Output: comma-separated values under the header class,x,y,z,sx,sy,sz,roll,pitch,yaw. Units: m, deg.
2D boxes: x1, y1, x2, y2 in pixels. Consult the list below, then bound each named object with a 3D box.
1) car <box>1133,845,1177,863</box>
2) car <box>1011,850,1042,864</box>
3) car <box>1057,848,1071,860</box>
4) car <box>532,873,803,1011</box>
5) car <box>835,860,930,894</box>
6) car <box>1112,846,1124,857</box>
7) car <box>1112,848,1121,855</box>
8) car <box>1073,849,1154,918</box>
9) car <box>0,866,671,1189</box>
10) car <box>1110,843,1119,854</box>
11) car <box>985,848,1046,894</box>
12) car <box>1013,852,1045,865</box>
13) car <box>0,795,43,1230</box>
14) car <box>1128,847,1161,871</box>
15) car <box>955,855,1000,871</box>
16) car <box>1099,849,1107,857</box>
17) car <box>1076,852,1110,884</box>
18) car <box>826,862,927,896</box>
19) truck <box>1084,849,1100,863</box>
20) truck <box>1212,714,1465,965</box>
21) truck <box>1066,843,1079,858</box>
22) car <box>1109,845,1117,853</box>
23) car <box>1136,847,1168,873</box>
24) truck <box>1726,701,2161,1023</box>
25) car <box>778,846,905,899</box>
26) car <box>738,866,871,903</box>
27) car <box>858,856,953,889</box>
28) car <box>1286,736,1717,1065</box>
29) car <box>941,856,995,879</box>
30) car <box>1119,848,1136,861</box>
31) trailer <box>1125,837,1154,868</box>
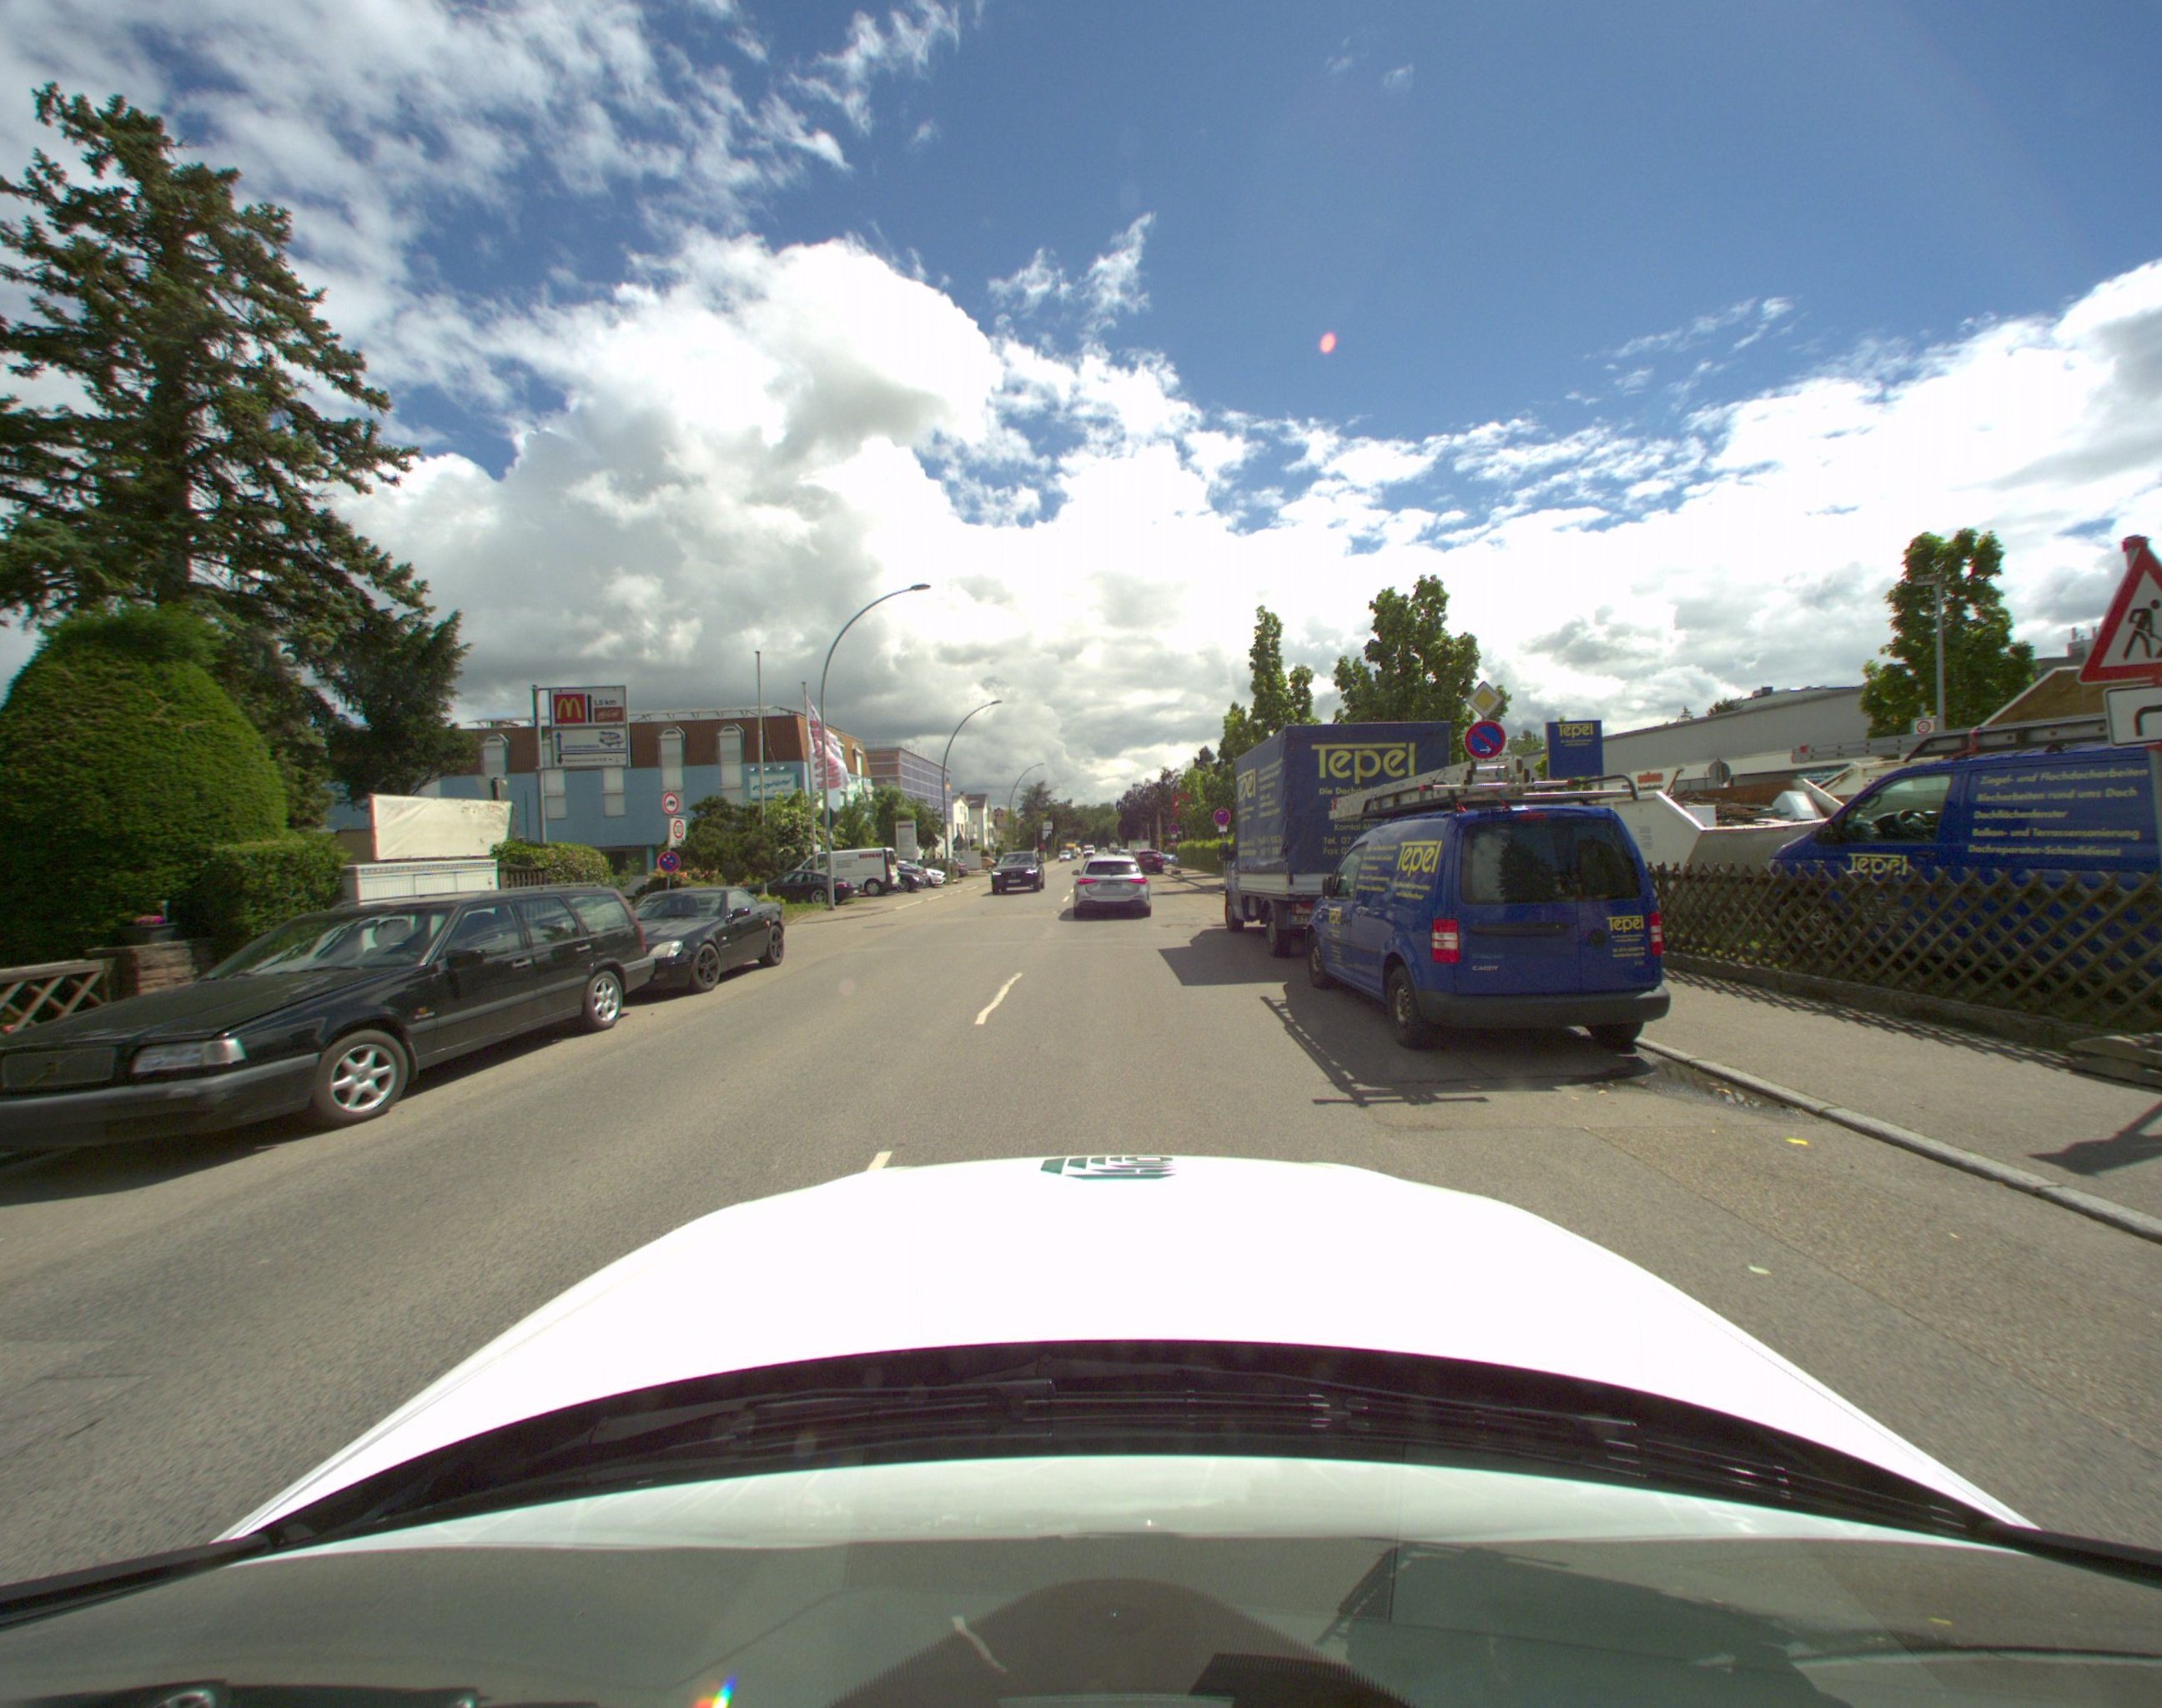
class,x,y,z,sx,sy,sz,roll,pitch,yaw
car,6.987,-0.024,76.501,3.961,1.596,2.006,0,1,11
car,-7.945,0.441,118.982,4.265,1.836,1.991,-3,-3,0
car,-2.584,-0.022,124.063,1.785,1.603,4.365,-3,1,1
car,-5.448,1.058,11.420,1.626,1.303,4.115,-5,1,-1
car,-9.390,1.082,38.736,3.970,1.355,1.873,-2,1,3
car,7.233,-0.445,159.460,2.136,1.984,5.263,-3,0,2
car,7.757,-0.442,178.084,1.779,1.484,4.315,-1,0,0
car,0.712,0.643,20.346,1.779,1.484,4.316,-1,1,0
car,-5.449,0.976,6.625,1.738,1.472,4.644,-5,1,0
car,8.081,-1.239,196.921,1.779,2.518,4.315,-1,0,0
car,-2.596,0.651,33.470,1.987,1.615,4.412,-3,1,1
car,-7.193,0.625,113.460,4.264,1.567,1.991,-3,-3,1
car,-5.493,0.769,1.362,1.738,1.838,4.355,-5,1,0
car,4.558,0.313,58.941,1.936,1.571,4.444,-3,1,-1
car,-9.852,0.880,77.951,4.139,1.491,1.824,0,1,-3
car,4.568,-0.273,169.136,1.750,1.558,4.001,-2,1,1
car,0.665,0.745,44.436,1.750,1.558,4.001,-2,1,1
car,-9.097,1.111,36.513,3.974,1.314,1.871,-2,0,0
truck,2.018,0.313,146.359,2.309,2.178,6.455,-3,1,3
truck,3.664,-0.211,13.073,2.312,3.097,6.045,0,1,2
truck,-1.629,-0.681,157.976,2.067,2.814,7.083,-3,1,3
car,7.258,-1.058,184.660,1.779,1.715,4.315,-1,0,0
car,4.591,0.349,53.382,1.933,1.571,4.450,-3,1,3
truck,7.856,-0.047,6.027,1.823,2.081,5.386,-5,2,1
car,-9.957,0.726,34.158,4.640,1.972,2.114,-2,1,-2
car,-9.567,1.048,28.383,3.974,1.204,1.871,0,1,-1
car,-8.956,0.947,41.775,4.358,1.478,1.872,-2,-1,1
car,3.344,0.284,7.628,1.866,2.169,4.466,0,1,2
car,-8.466,1.033,61.327,3.612,1.532,1.981,-2,0,3
car,5.717,0.053,100.635,1.786,1.450,4.362,-3,1,-1
trailer,4.625,-0.096,64.655,1.935,2.294,4.445,-3,0,0
